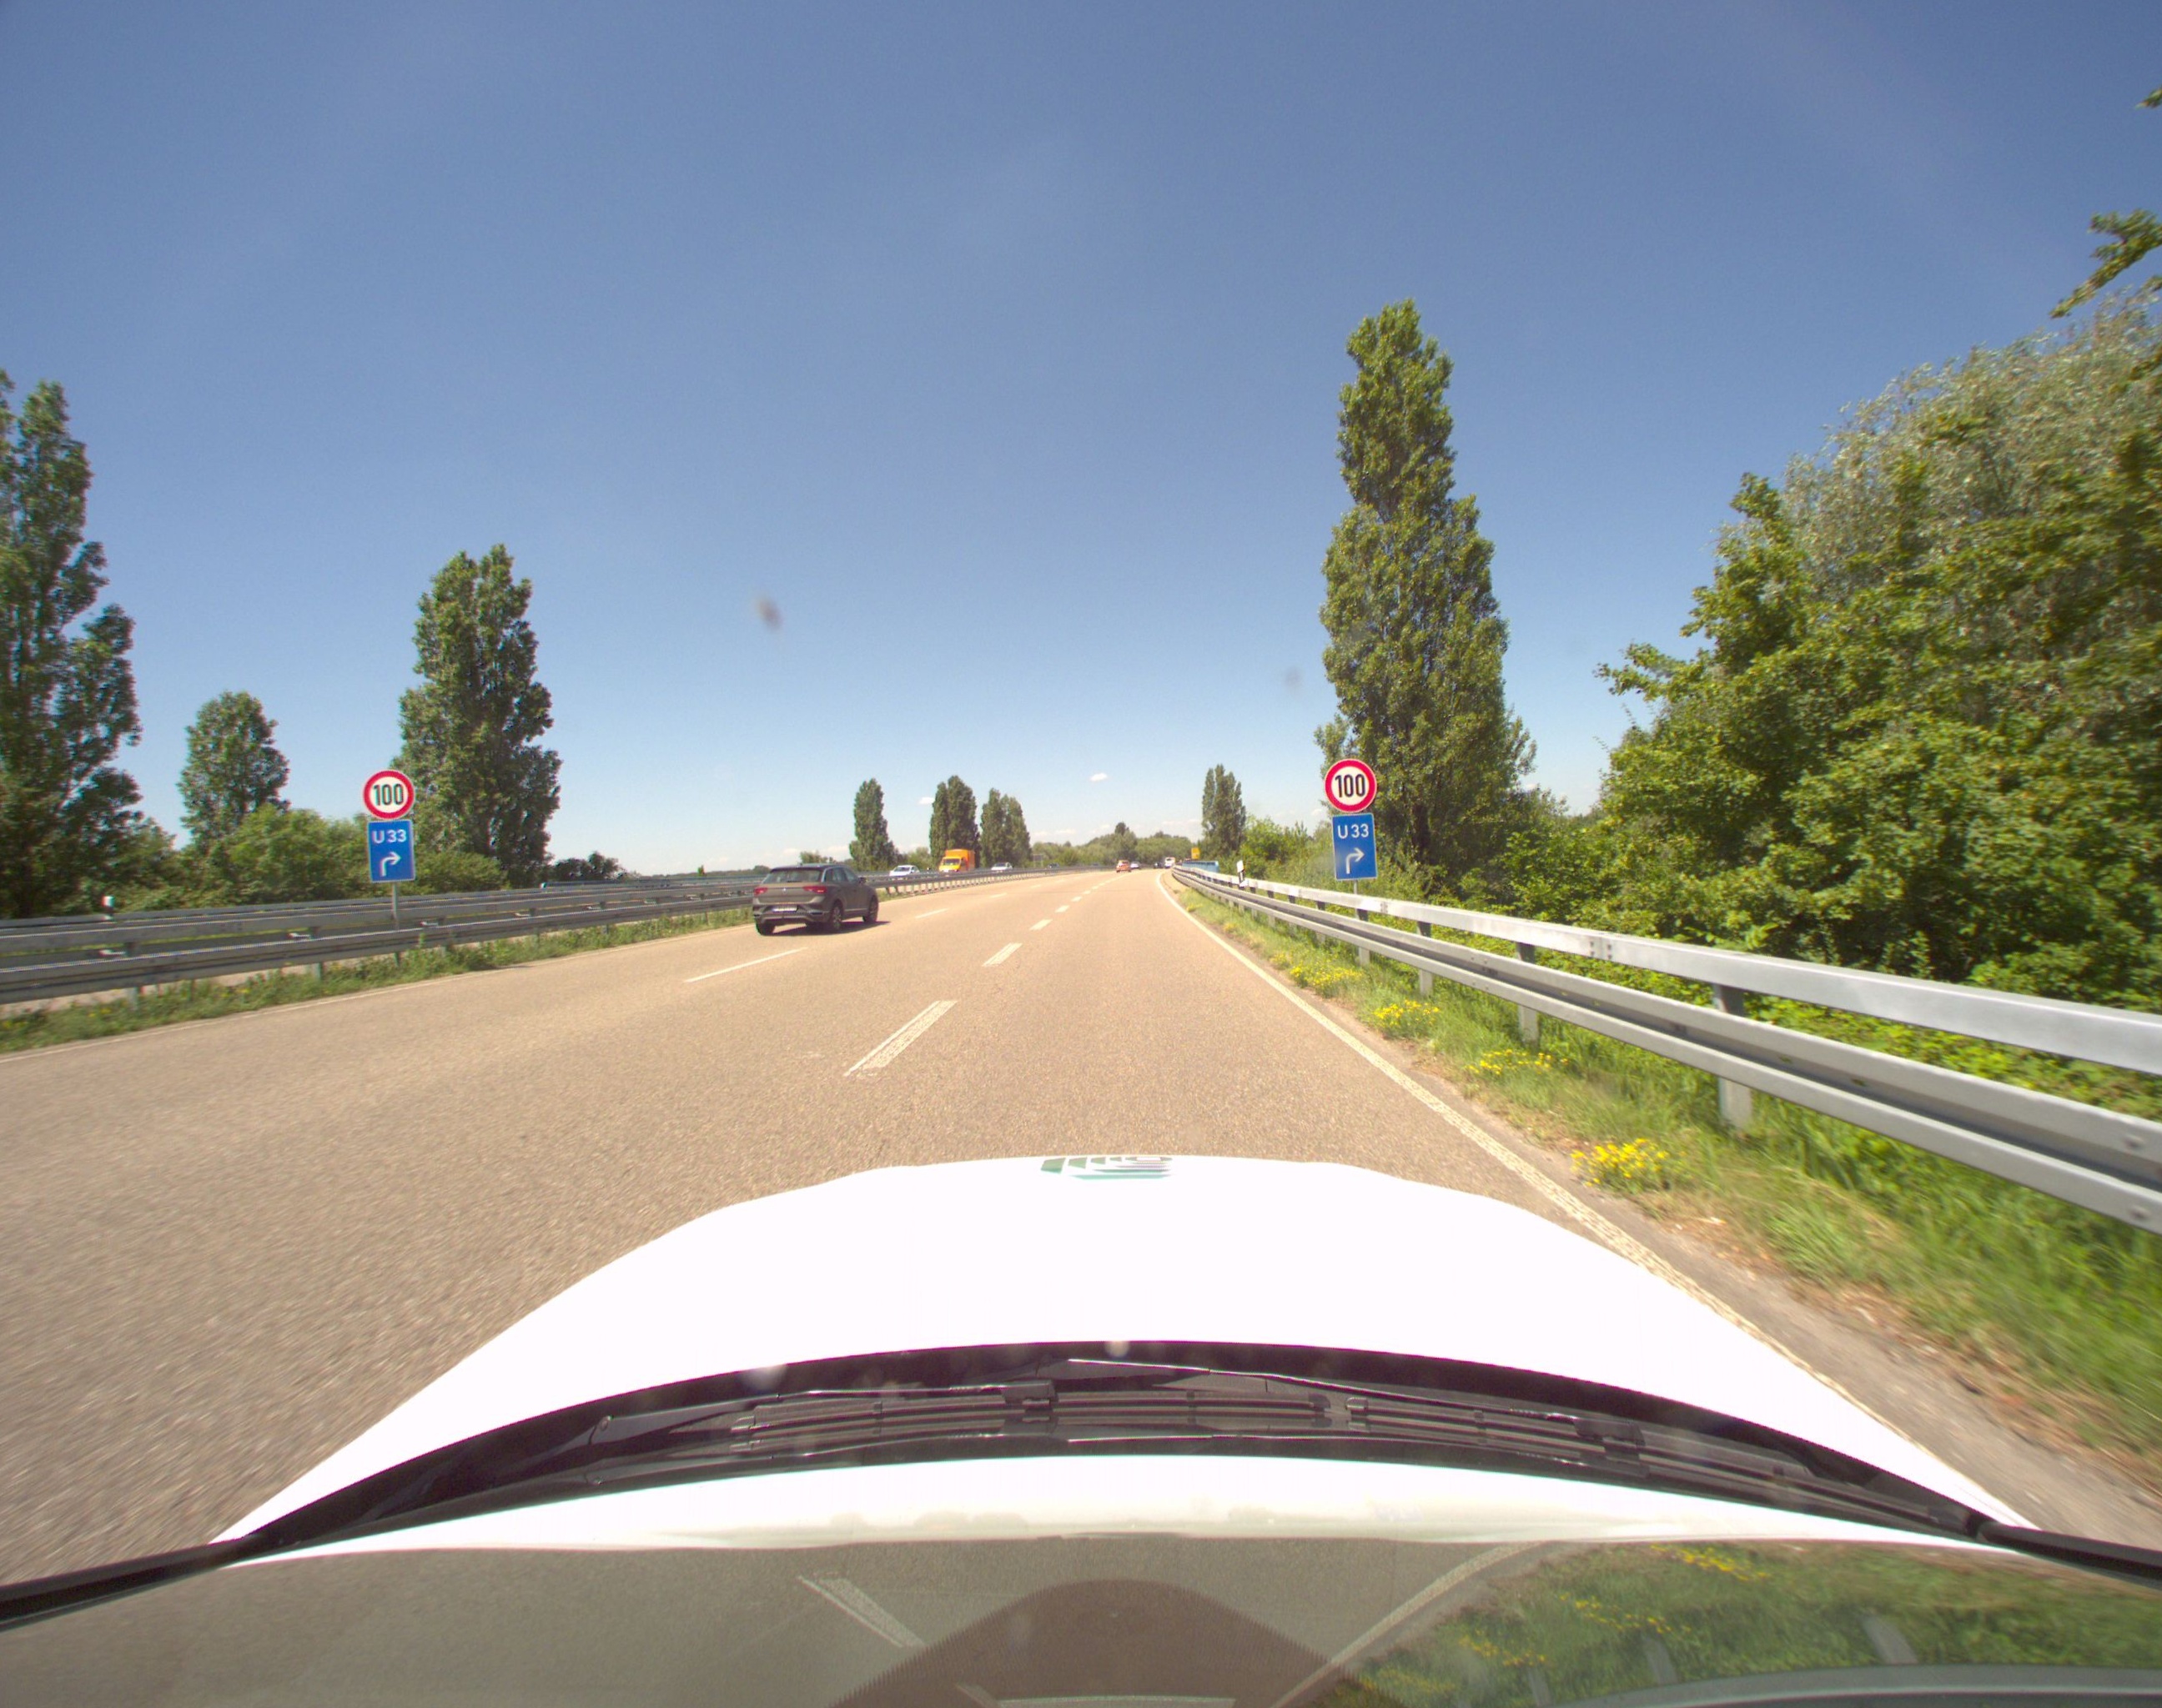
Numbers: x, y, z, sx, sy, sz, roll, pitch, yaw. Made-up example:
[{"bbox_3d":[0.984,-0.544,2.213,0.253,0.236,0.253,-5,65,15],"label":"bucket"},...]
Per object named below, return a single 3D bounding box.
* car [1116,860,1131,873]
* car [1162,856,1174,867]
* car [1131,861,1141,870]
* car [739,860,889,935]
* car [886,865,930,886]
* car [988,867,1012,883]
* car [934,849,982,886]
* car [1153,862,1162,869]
[{"bbox_3d":[5.350,1.538,102.148,1.834,1.464,4.003,-1,0,3],"label":"car"},{"bbox_3d":[15.517,1.353,144.606,1.830,1.895,4.010,-1,0,9],"label":"car"},{"bbox_3d":[10.278,2.136,152.129,1.832,1.451,4.006,-1,0,6],"label":"car"},{"bbox_3d":[-6.152,0.930,19.382,1.833,1.530,4.473,-1,0,3],"label":"car"},{"bbox_3d":[-13.559,1.675,64.046,1.842,1.432,4.805,-3,-1,8],"label":"car"},{"bbox_3d":[-9.603,2.515,97.155,1.843,1.818,4.803,-3,-2,6],"label":"car"},{"bbox_3d":[-11.614,1.256,77.657,2.291,3.292,7.046,-3,-1,9],"label":"car"},{"bbox_3d":[18.540,2.722,196.185,1.933,1.464,4.009,-1,0,8],"label":"car"}]
